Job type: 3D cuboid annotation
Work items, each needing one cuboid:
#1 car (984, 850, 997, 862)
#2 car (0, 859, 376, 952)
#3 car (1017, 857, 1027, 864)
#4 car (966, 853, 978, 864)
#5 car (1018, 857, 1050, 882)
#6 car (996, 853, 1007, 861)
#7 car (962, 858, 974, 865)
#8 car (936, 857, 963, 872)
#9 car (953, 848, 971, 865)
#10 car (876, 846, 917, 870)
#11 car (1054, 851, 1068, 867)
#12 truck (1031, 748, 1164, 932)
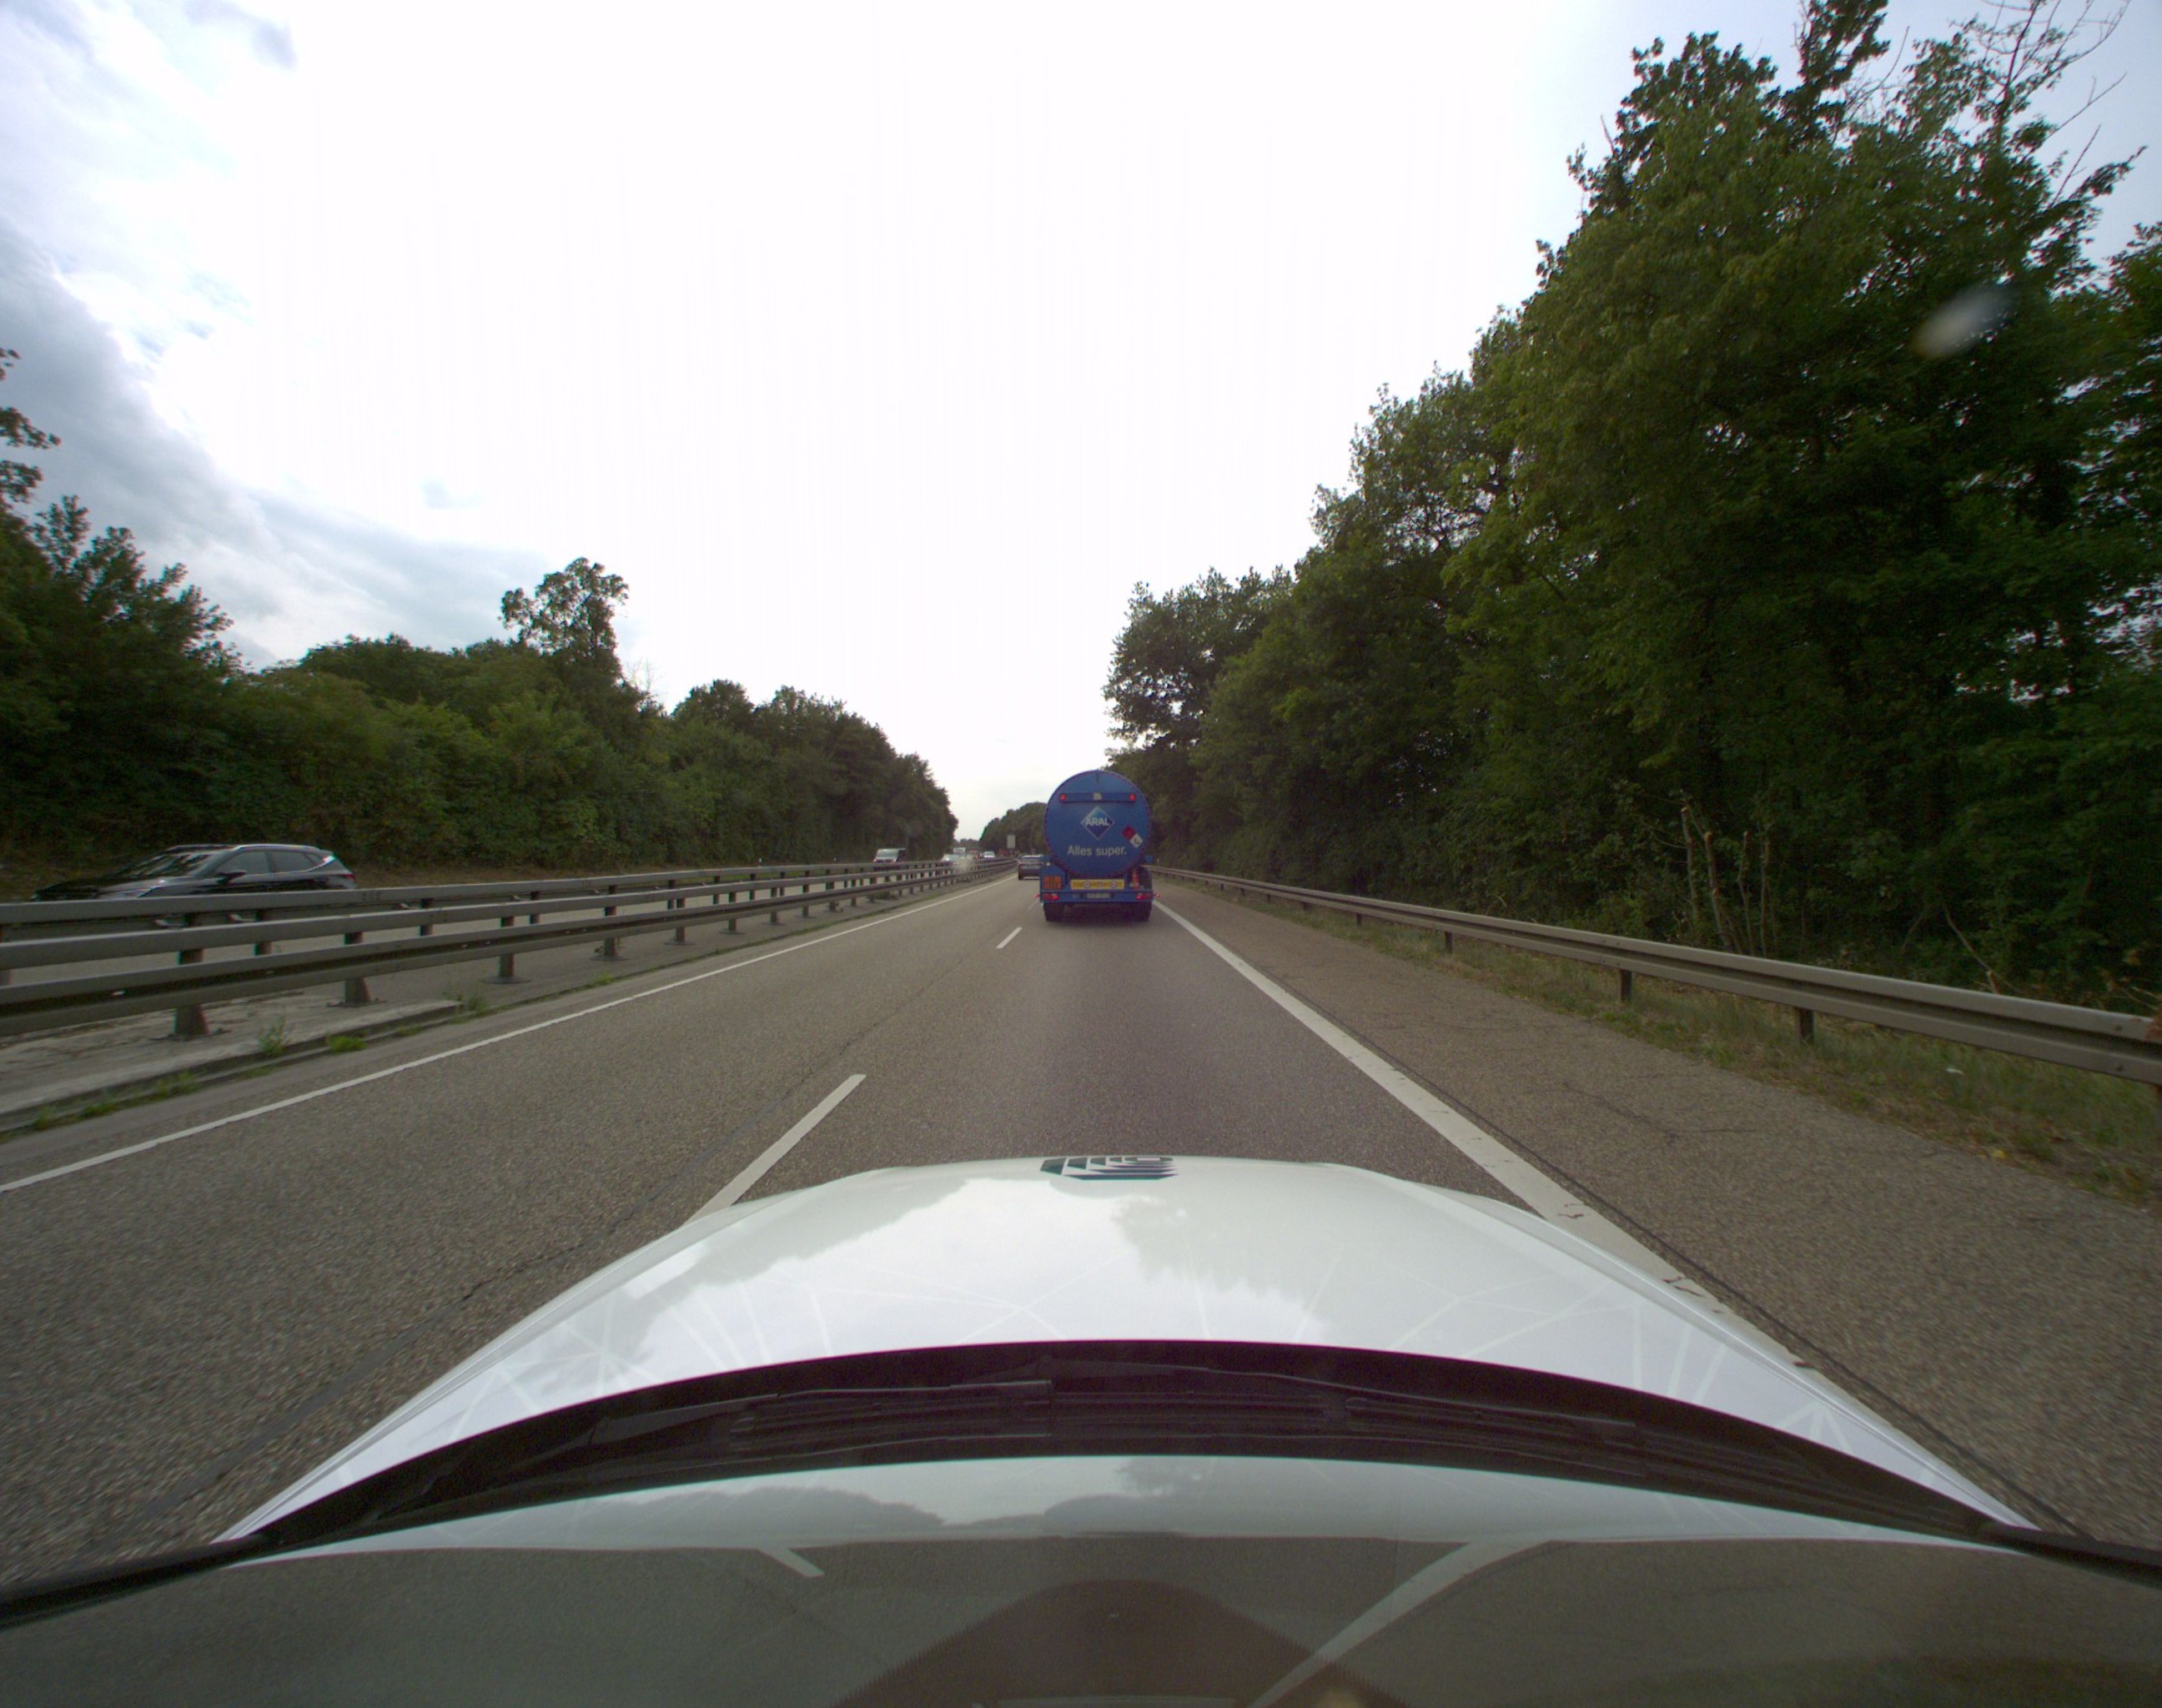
[{"bbox_3d":[-15.464,0.348,139.268,1.817,1.983,5.054,-1,-1,-2],"label":"car"},{"bbox_3d":[-14.583,0.755,13.656,1.971,1.300,4.067,-1,-1,0],"label":"car"},{"bbox_3d":[-13.588,1.495,187.140,1.992,1.552,3.989,-1,-1,-8],"label":"car"},{"bbox_3d":[-22.176,0.967,165.870,2.061,2.256,5.369,-1,-1,-3],"label":"car"},{"bbox_3d":[-3.138,1.025,54.783,1.820,1.609,4.167,-1,-1,0],"label":"car"},{"bbox_3d":[-15.698,0.577,160.442,1.777,1.563,4.011,-1,-1,-2],"label":"car"},{"bbox_3d":[-21.074,1.350,152.109,1.770,1.296,4.103,-1,-1,-2],"label":"car"},{"bbox_3d":[-11.821,0.914,73.429,1.649,1.278,4.712,-1,-1,0],"label":"car"},{"bbox_3d":[-18.980,0.362,130.158,2.305,2.611,5.549,-1,-1,-2],"label":"car"},{"bbox_3d":[-14.748,0.338,65.394,2.028,1.804,5.123,-1,-1,0],"label":"car"},{"bbox_3d":[-2.908,0.714,120.419,1.987,2.244,3.999,-1,-1,0],"label":"car"},{"bbox_3d":[0.503,-0.296,21.072,2.745,3.846,7.692,-1,0,2],"label":"truck"}]
